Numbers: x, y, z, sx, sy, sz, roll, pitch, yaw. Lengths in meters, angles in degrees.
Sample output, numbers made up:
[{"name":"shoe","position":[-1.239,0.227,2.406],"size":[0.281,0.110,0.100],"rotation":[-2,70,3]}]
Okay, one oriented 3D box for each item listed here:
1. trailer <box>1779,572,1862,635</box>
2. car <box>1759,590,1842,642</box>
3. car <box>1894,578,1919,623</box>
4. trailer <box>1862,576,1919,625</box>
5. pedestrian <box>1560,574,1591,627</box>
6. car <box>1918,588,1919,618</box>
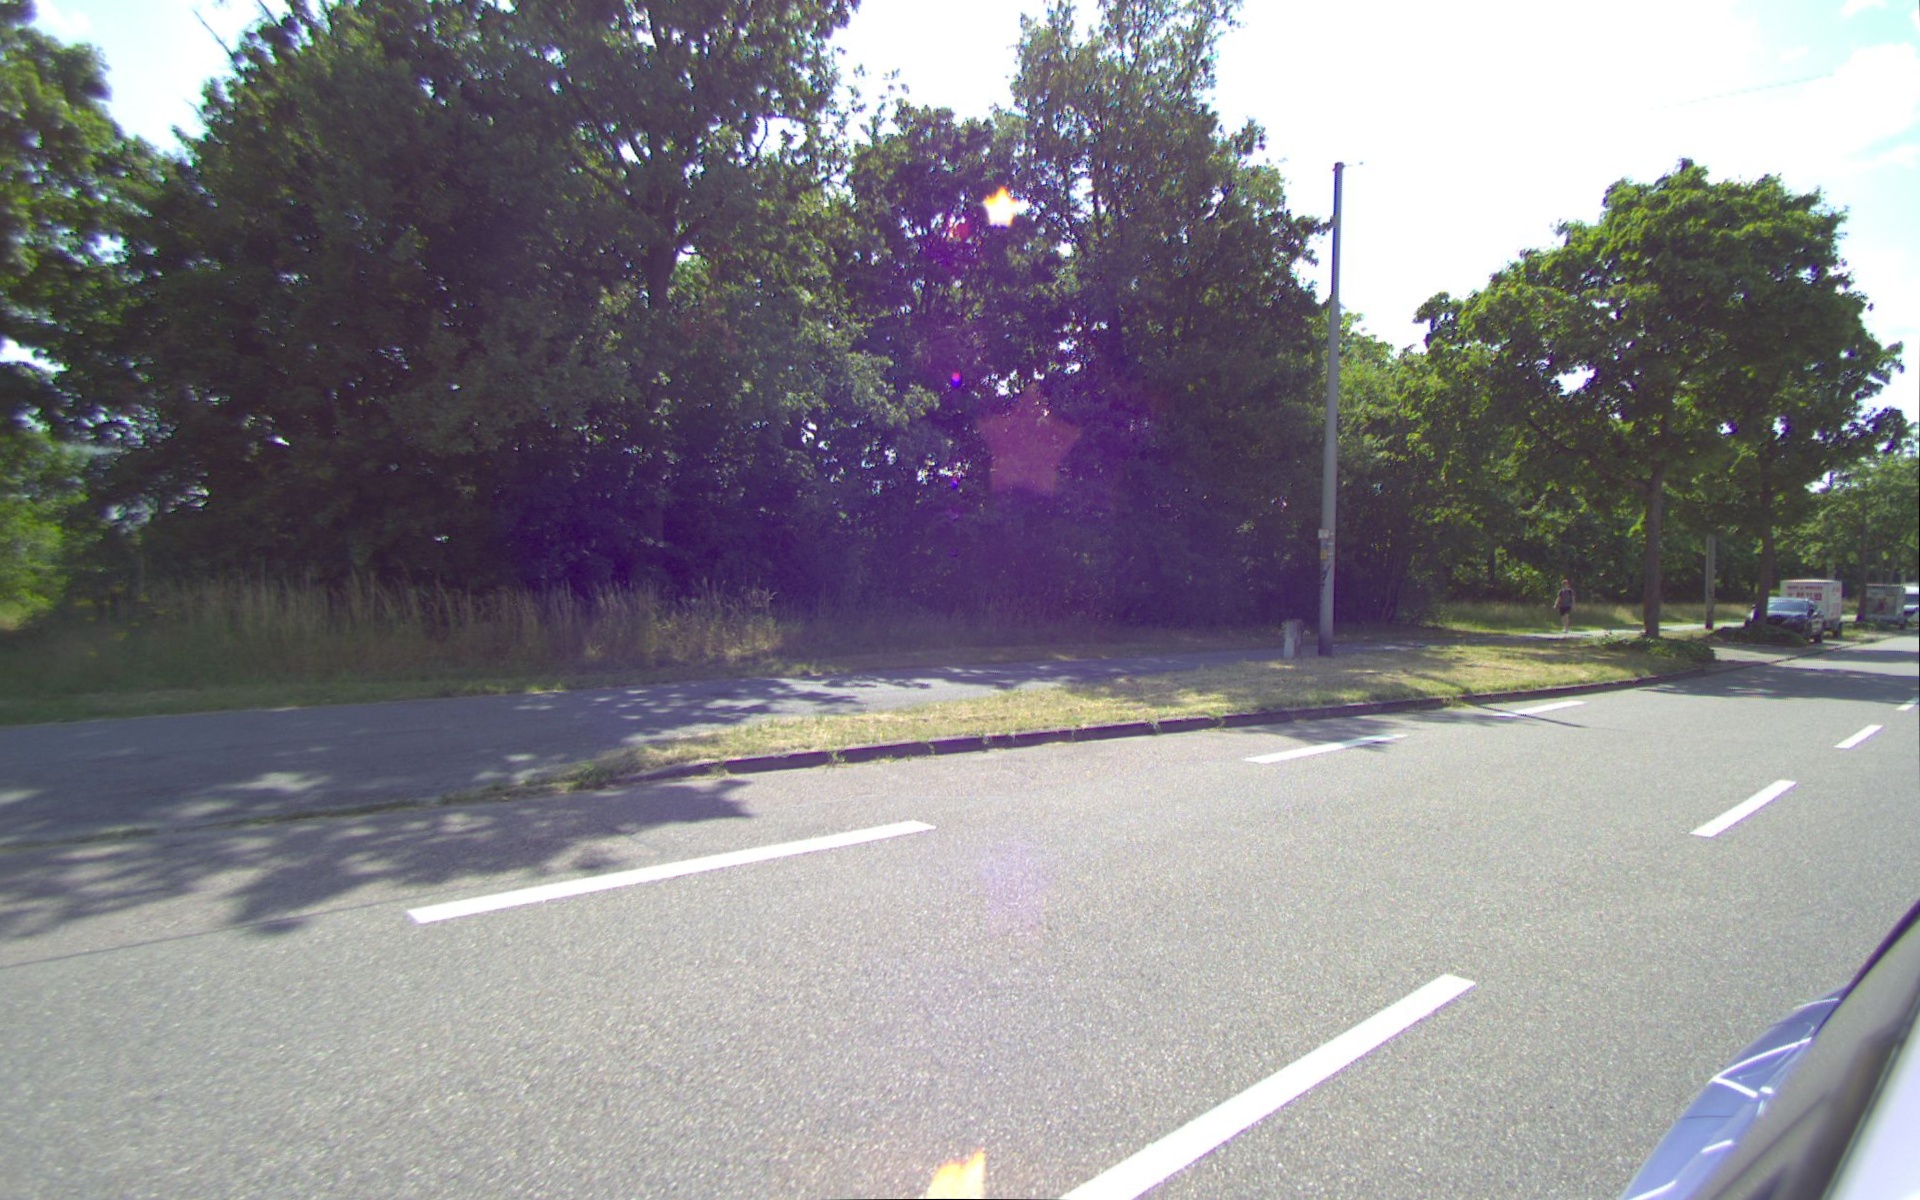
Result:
[{"name":"trailer","position":[34.924,0.091,41.041],"size":[4.528,2.380,1.955],"rotation":[-1,3,-43]},{"name":"car","position":[30.429,0.532,36.612],"size":[4.286,1.711,1.594],"rotation":[-1,3,-41]},{"name":"car","position":[60.700,-0.009,63.776],"size":[6.046,2.729,2.178],"rotation":[-1,0,-42]},{"name":"trailer","position":[50.373,-0.027,54.458],"size":[4.699,2.393,1.999],"rotation":[-1,6,-41]},{"name":"pedestrian","position":[21.216,0.014,34.877],"size":[0.727,1.816,0.718],"rotation":[0,0,-42]},{"name":"car","position":[70.608,-0.094,72.501],"size":[6.652,2.836,2.261],"rotation":[-1,4,-42]}]
